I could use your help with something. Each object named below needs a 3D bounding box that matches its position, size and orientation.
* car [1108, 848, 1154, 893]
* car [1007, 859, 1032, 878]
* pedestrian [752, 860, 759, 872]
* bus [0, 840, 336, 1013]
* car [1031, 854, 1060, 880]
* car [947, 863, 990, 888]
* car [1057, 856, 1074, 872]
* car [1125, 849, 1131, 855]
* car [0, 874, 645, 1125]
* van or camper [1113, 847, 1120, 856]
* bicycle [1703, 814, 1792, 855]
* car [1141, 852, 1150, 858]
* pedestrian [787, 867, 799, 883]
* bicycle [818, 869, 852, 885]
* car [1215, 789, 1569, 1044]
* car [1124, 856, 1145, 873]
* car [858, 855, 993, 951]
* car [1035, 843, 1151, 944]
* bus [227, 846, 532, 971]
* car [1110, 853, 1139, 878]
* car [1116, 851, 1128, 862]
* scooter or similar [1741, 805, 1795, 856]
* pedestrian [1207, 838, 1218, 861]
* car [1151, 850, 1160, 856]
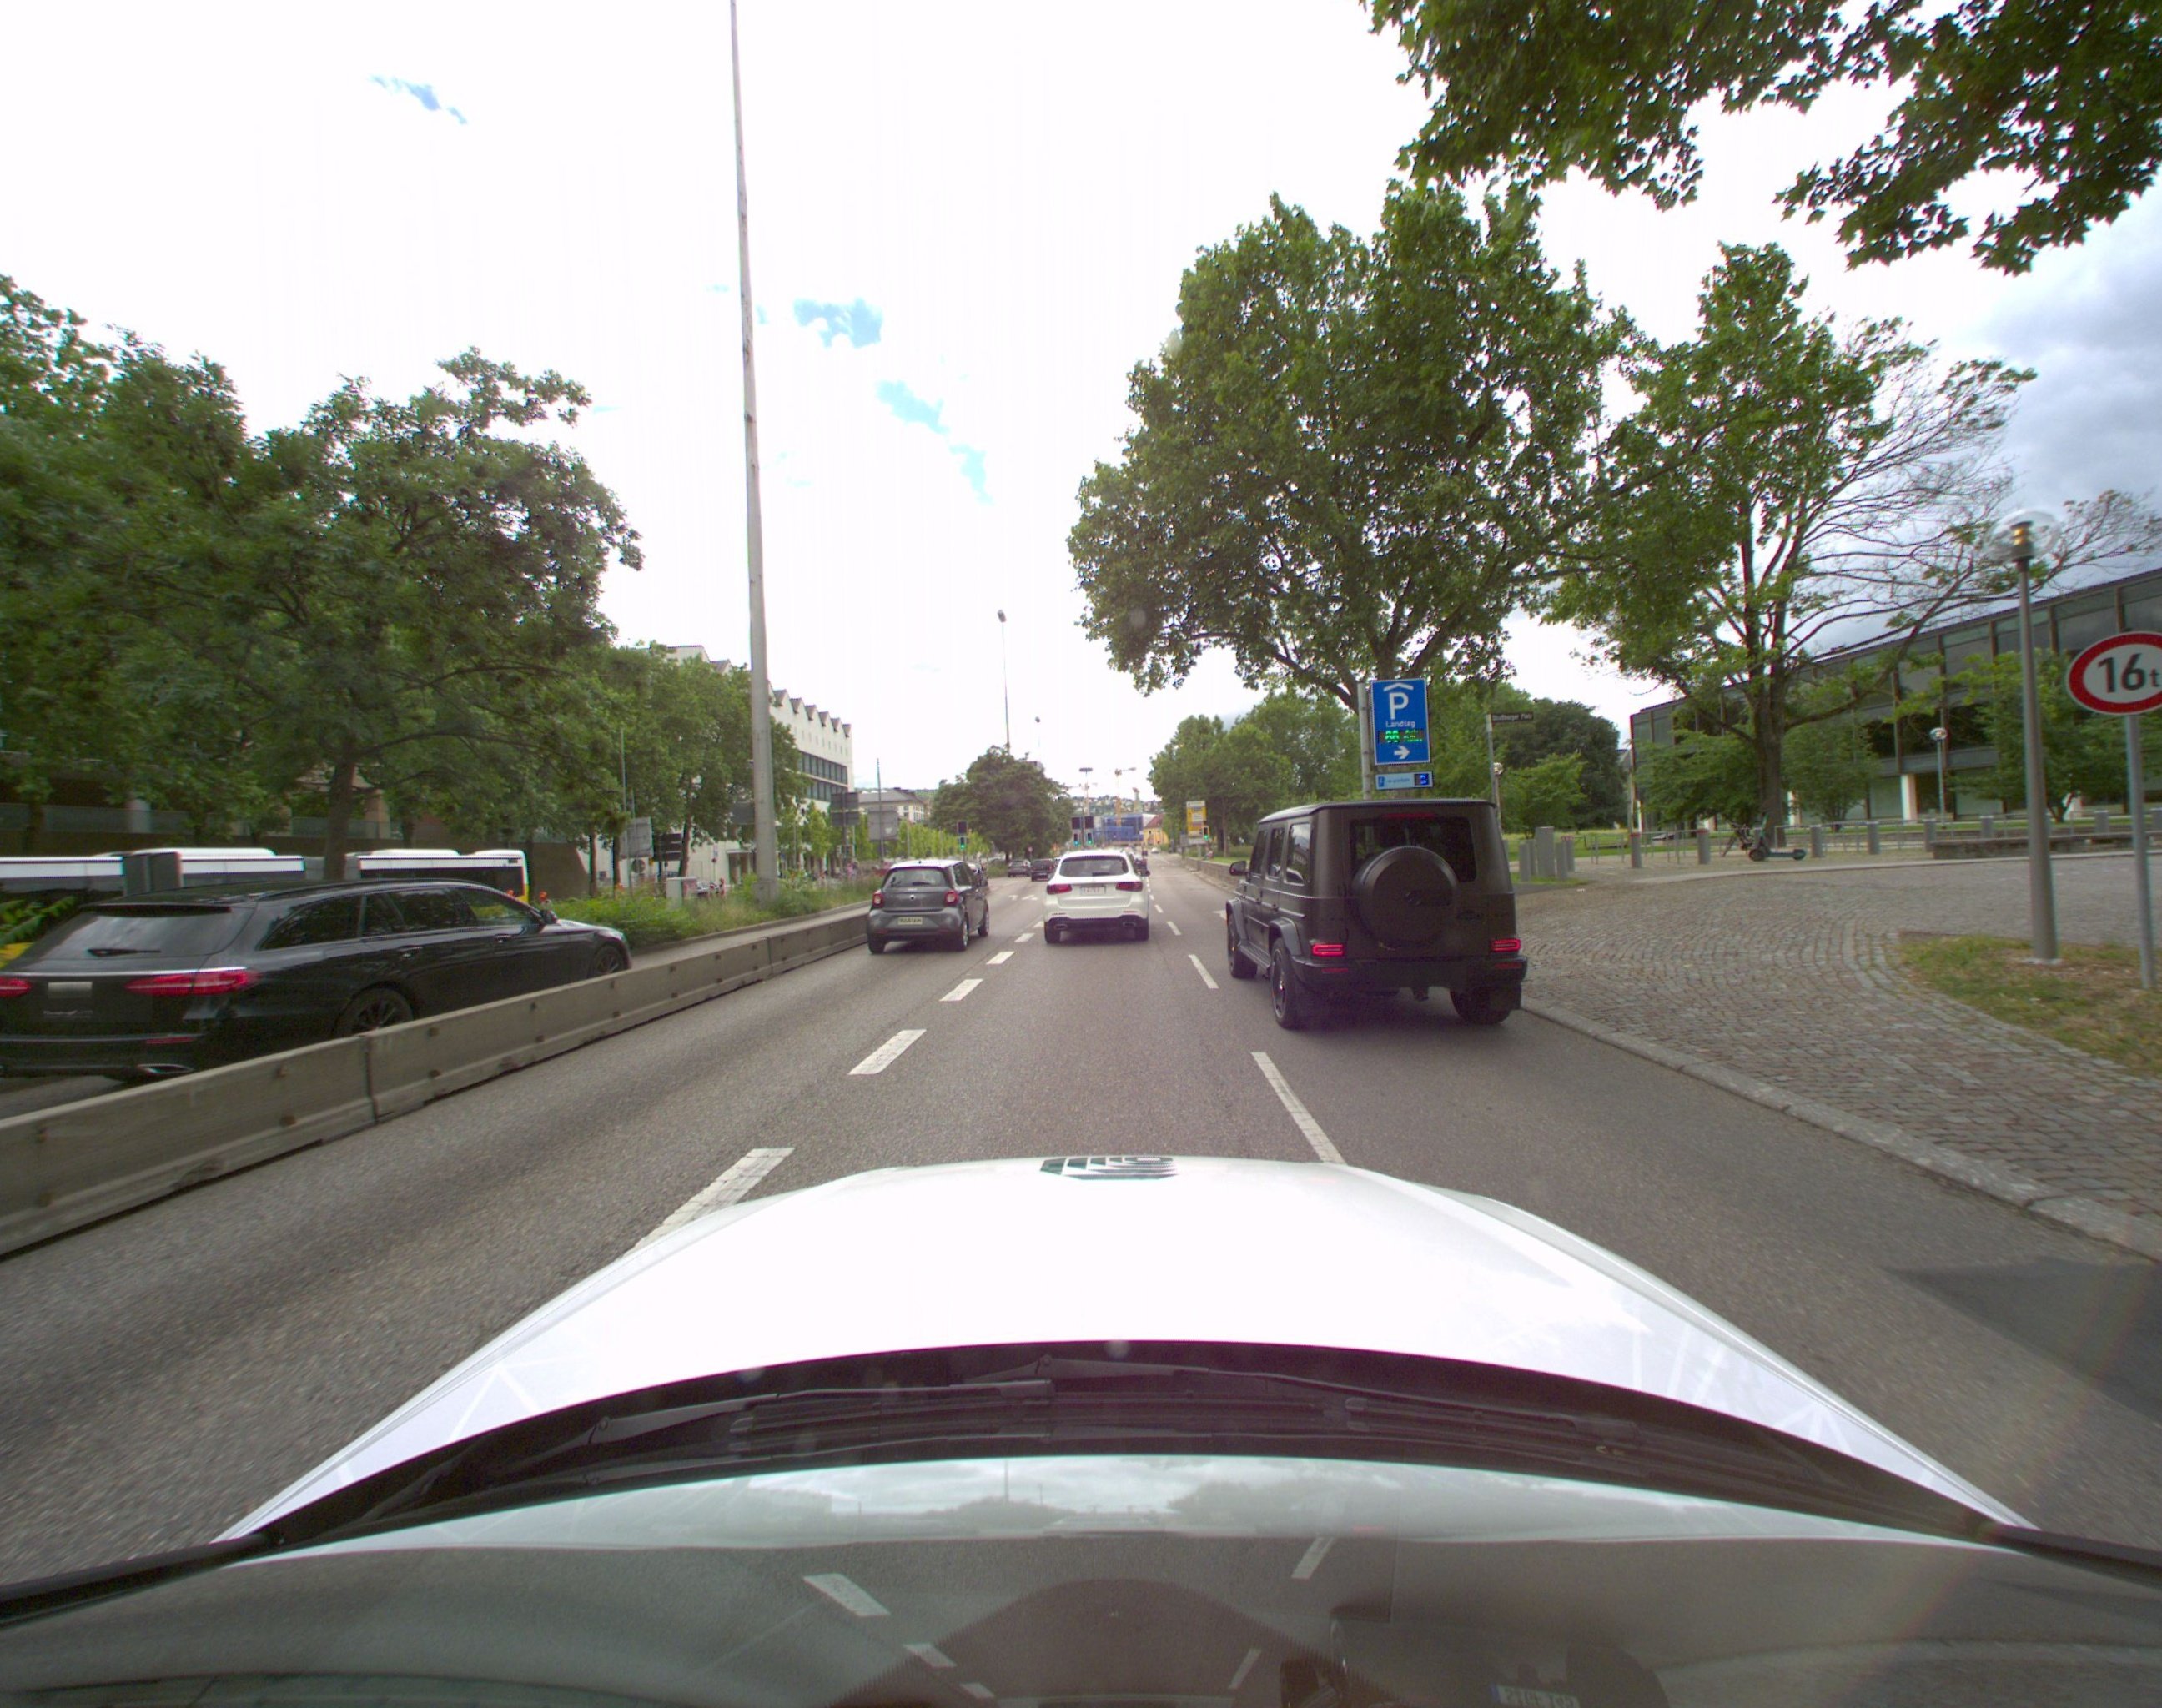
[{"bbox_3d":[1.937,0.627,31.703,1.665,1.628,4.003,0,-1,3],"label":"car"},{"bbox_3d":[-5.182,1.225,69.397,1.747,1.553,4.001,0,0,1],"label":"car"},{"bbox_3d":[-37.577,1.355,93.989,0.517,1.327,0.565,-4,-2,2],"label":"pedestrian"},{"bbox_3d":[-22.092,1.467,17.131,2.902,3.305,10.452,-3,0,1],"label":"bus"},{"bbox_3d":[-2.392,0.826,55.006,1.713,1.678,4.000,0,0,1],"label":"car"},{"bbox_3d":[-6.110,1.134,44.536,1.713,1.292,4.000,0,0,1],"label":"car"},{"bbox_3d":[-1.596,1.051,85.124,1.714,1.584,3.999,0,0,-1],"label":"car"},{"bbox_3d":[13.451,-0.549,233.360,1.713,1.584,4.000,0,0,1],"label":"car"},{"bbox_3d":[-6.230,0.952,7.402,1.806,1.460,4.864,-1,-1,1],"label":"car"},{"bbox_3d":[9.494,-0.582,217.393,1.915,2.320,4.001,-2,-2,2],"label":"van or camper"},{"bbox_3d":[21.183,-0.613,25.918,2.183,1.141,0.686,-3,0,2],"label":"bicycle"},{"bbox_3d":[15.533,0.209,196.461,1.713,1.584,4.000,0,0,1],"label":"car"},{"bbox_3d":[-29.423,2.168,83.243,0.887,1.557,0.591,-3,-1,-40],"label":"pedestrian"},{"bbox_3d":[-28.916,2.692,95.803,3.600,1.684,1.183,-3,0,0],"label":"bicycle"},{"bbox_3d":[2.699,0.501,8.428,1.970,1.893,4.708,0,-1,2],"label":"car"},{"bbox_3d":[4.948,0.944,75.458,1.713,1.584,4.000,0,0,1],"label":"car"},{"bbox_3d":[-2.695,0.817,14.900,1.621,1.509,3.541,-1,-1,2],"label":"car"},{"bbox_3d":[0.263,0.698,15.670,1.933,1.684,4.001,0,-1,2],"label":"car"},{"bbox_3d":[-21.911,1.509,26.276,2.912,3.303,7.708,-3,0,1],"label":"bus"},{"bbox_3d":[2.778,0.718,52.932,1.713,1.584,4.000,0,0,1],"label":"car"},{"bbox_3d":[6.956,0.476,138.853,1.985,1.757,4.004,0,-1,4],"label":"car"},{"bbox_3d":[17.378,-0.586,20.603,0.713,1.247,0.729,-2,-1,1],"label":"scooter or similar"},{"bbox_3d":[9.651,-0.352,59.972,0.695,1.656,0.684,0,-1,2],"label":"pedestrian"},{"bbox_3d":[20.495,-0.339,222.963,1.989,1.618,3.996,0,-1,-2],"label":"car"}]
